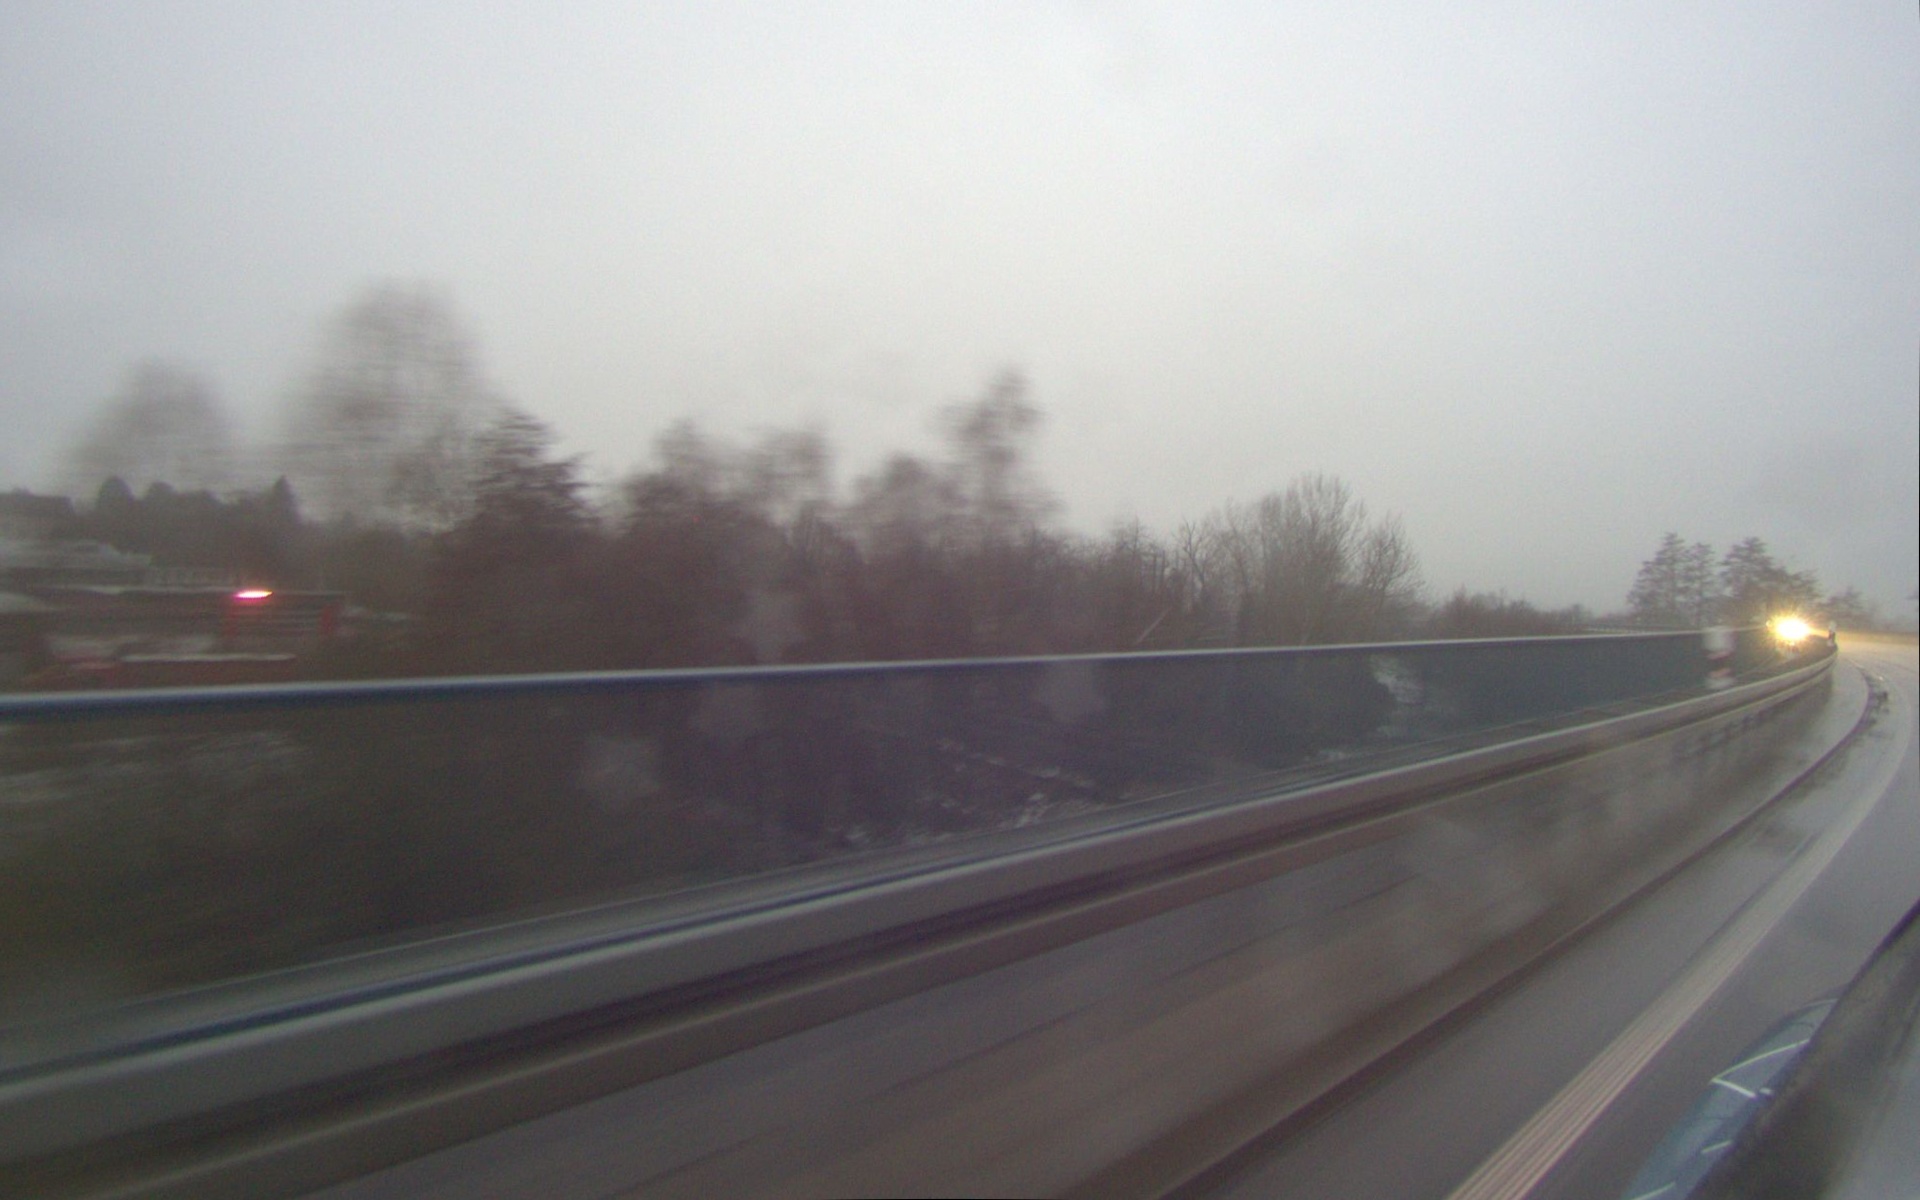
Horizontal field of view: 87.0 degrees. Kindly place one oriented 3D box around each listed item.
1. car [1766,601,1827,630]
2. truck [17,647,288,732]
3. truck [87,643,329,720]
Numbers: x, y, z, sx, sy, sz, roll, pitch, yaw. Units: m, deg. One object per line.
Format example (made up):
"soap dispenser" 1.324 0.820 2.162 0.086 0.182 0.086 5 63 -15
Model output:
"car" 51.333 0.901 62.201 2.087 1.594 4.747 4 1 30
"truck" -39.053 4.165 49.424 2.783 3.274 10.002 0 0 41
"truck" -39.605 4.165 53.787 2.783 3.274 10.002 0 0 41
